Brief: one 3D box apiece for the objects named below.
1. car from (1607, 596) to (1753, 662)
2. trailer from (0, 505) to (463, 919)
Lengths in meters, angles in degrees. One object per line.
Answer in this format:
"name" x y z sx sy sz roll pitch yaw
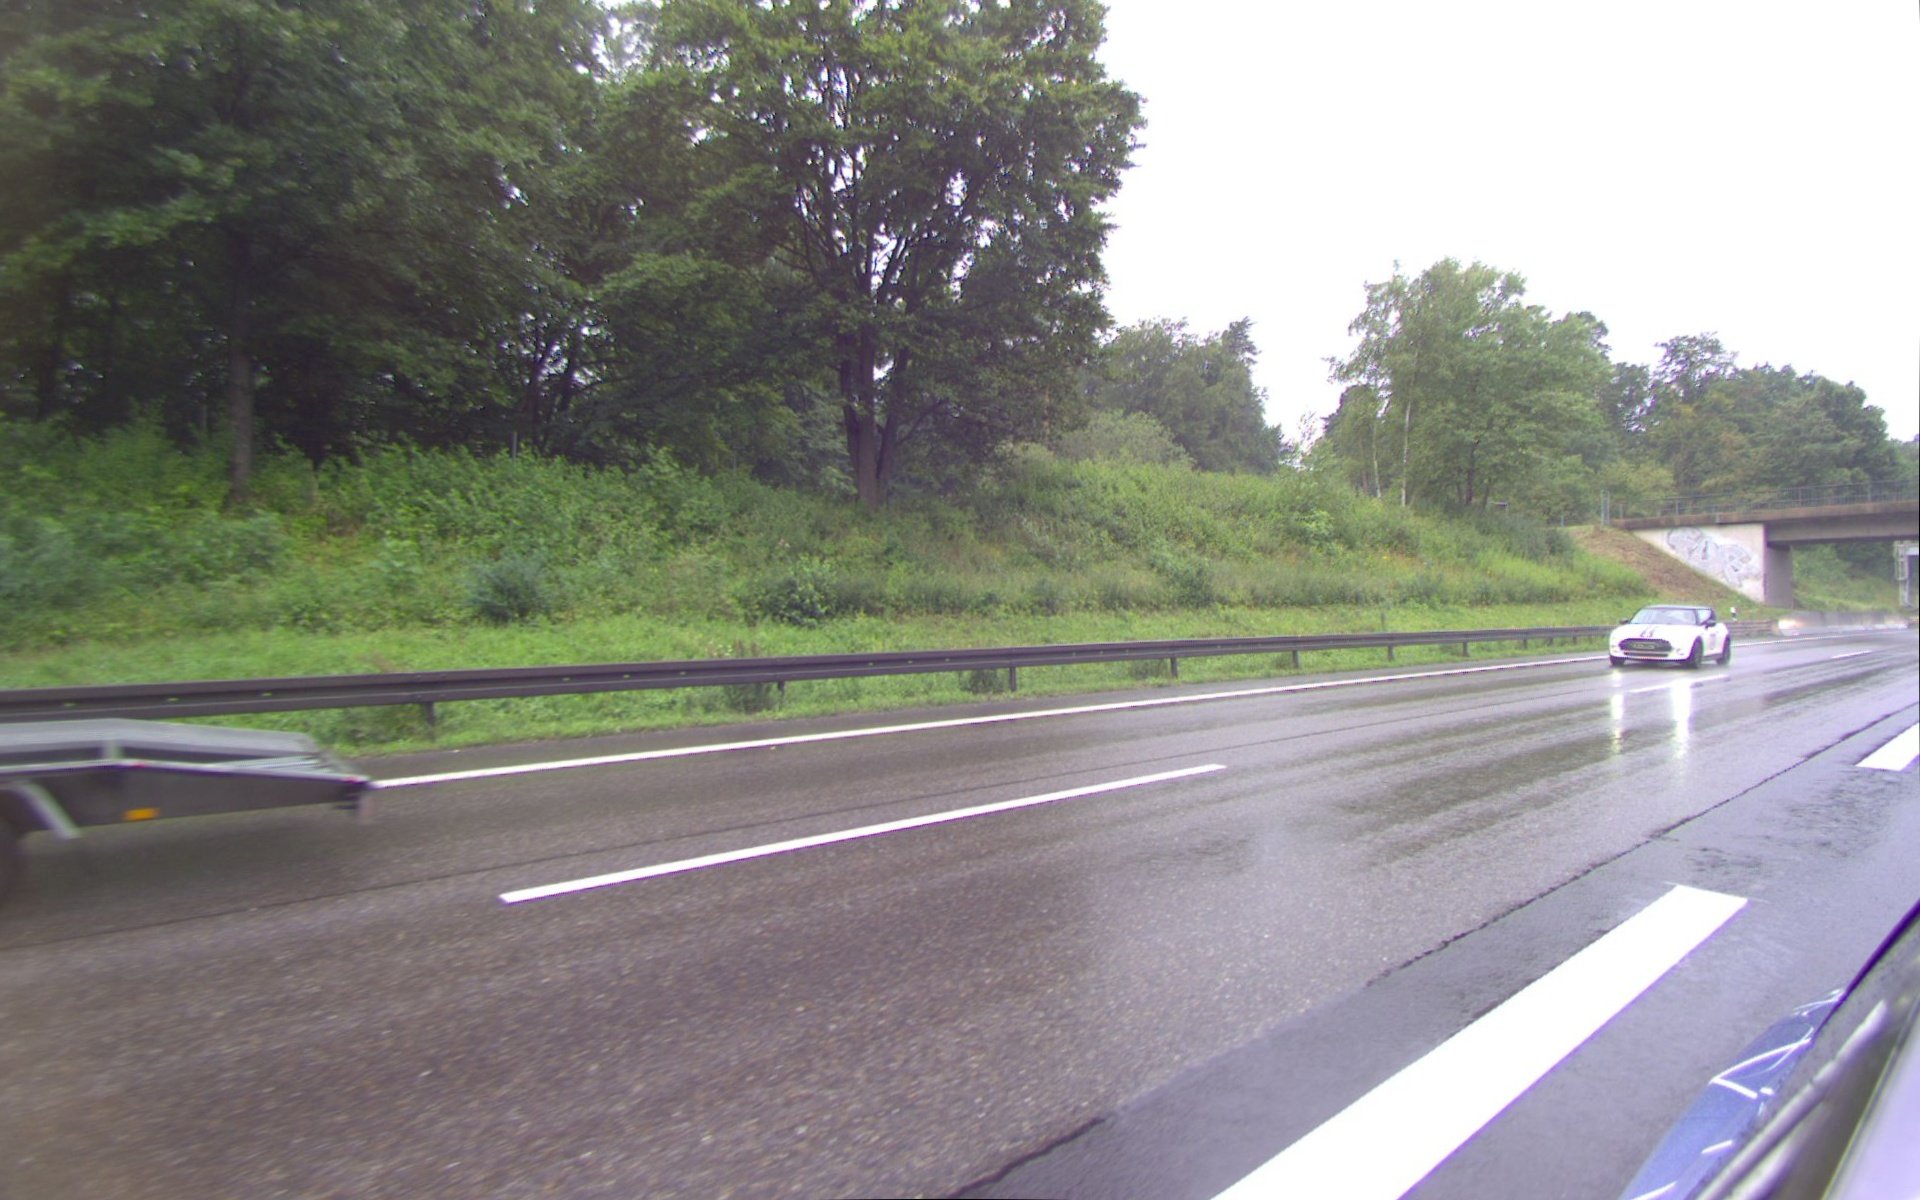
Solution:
"car" 16.959 0.623 23.768 4.152 1.425 1.794 0 0 -40
"trailer" -5.279 0.462 4.632 4.994 1.736 2.246 0 0 -42
